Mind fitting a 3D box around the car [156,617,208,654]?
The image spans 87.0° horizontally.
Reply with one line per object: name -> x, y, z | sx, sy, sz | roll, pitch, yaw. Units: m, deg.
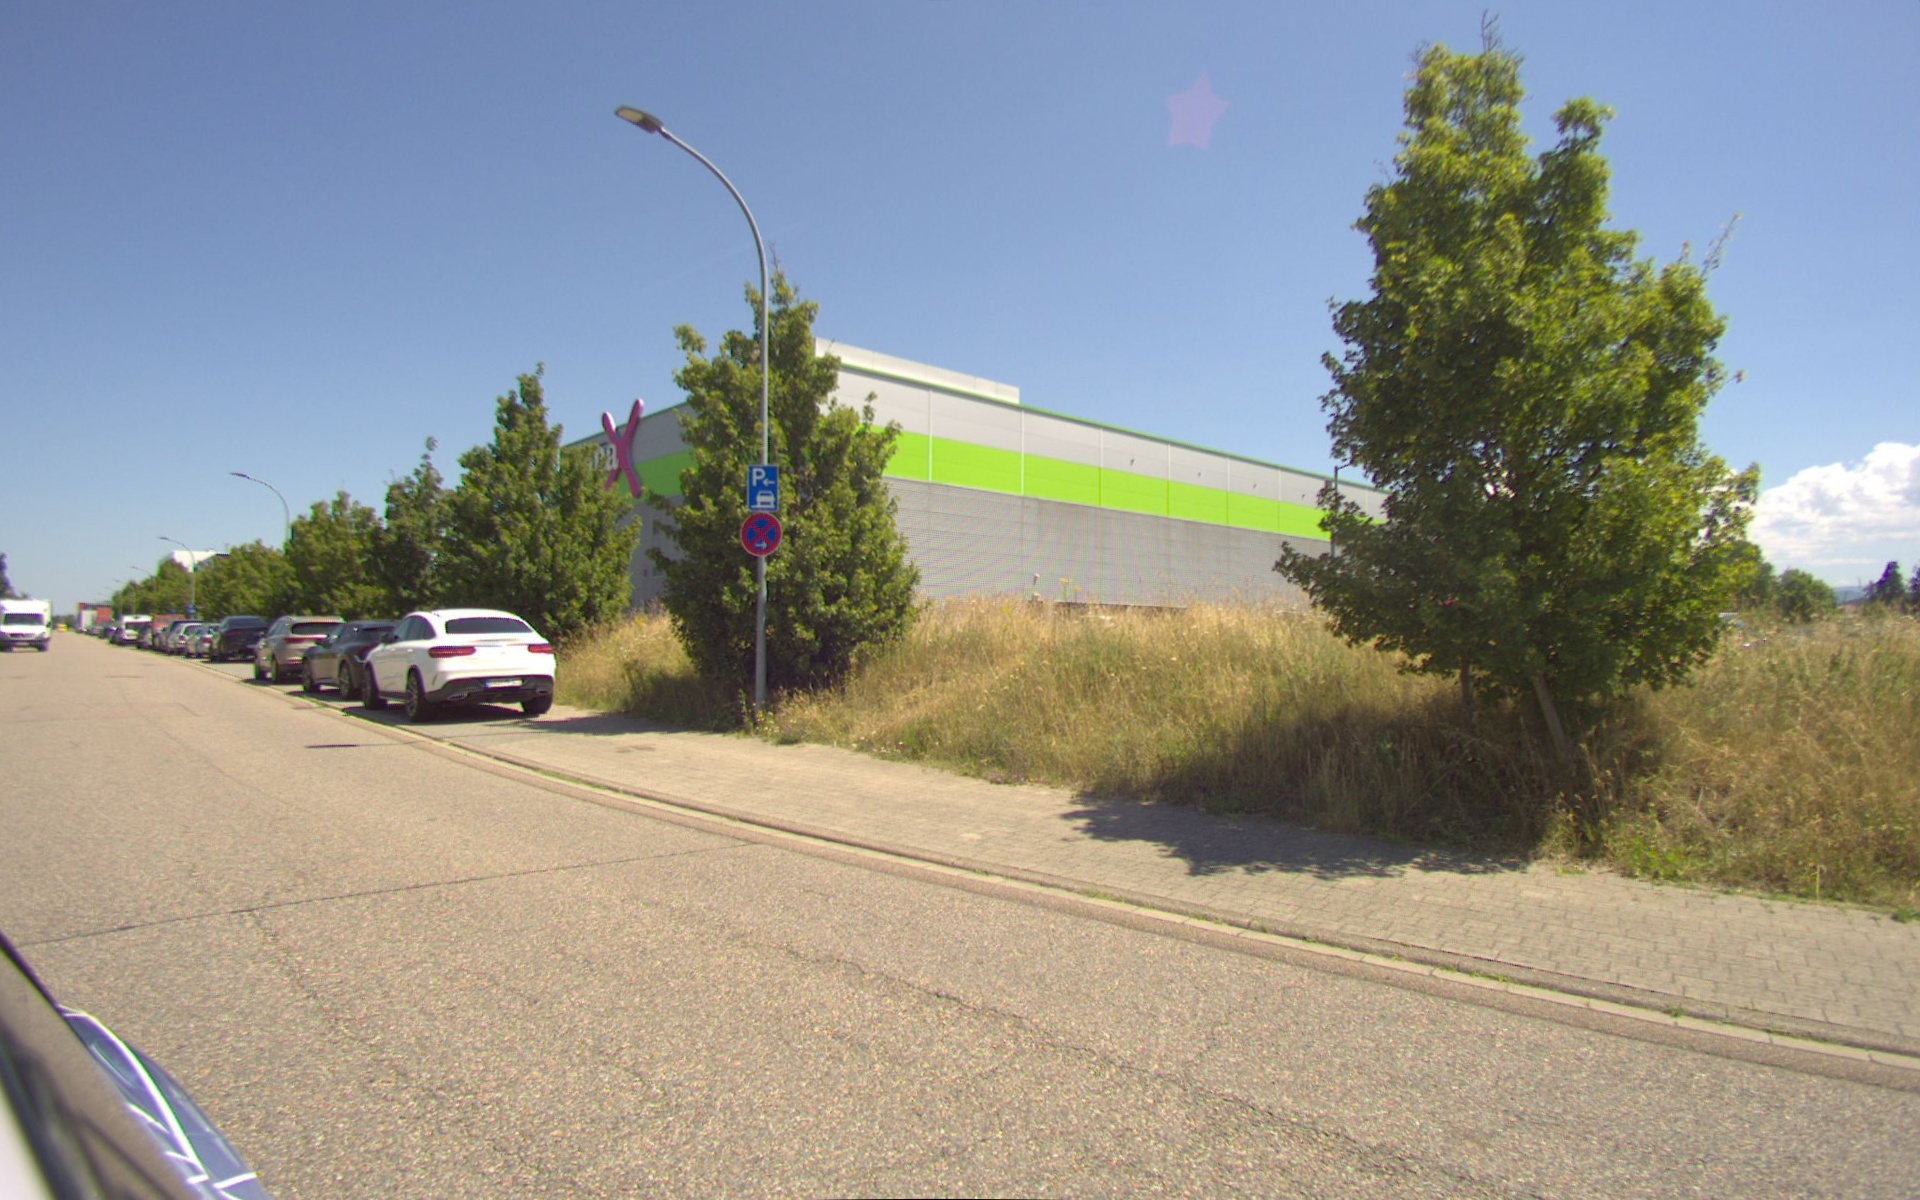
car -> -40.330, 1.819, 52.386 | 1.829, 1.772, 4.993 | 0, -2, -41

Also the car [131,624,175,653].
car -> -54.728, 2.605, 68.579 | 1.950, 1.915, 5.409 | 3, -3, -42

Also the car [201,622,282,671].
car -> -27.278, 1.726, 38.367 | 1.967, 1.726, 5.013 | 0, -2, -42

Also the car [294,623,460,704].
car -> -12.207, 1.278, 21.067 | 1.890, 1.503, 4.415 | 3, -4, -45

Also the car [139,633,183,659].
car -> -50.537, 2.870, 63.959 | 1.830, 1.562, 3.770 | 0, -2, -44

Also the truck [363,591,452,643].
truck -> -47.092, 1.529, 86.350 | 6.030, 4.119, 3.224 | 3, -4, -41

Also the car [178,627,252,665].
car -> -31.973, 1.941, 43.366 | 1.830, 1.530, 5.170 | 0, -2, -44

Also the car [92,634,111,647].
car -> -116.000, 5.429, 136.774 | 1.772, 1.660, 3.835 | 3, -3, -43

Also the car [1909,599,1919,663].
car -> 25.236, 0.712, 23.911 | 1.970, 1.556, 4.003 | 1, -3, -44

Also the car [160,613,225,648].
car -> -36.317, 1.438, 47.855 | 1.830, 1.530, 4.908 | 0, -2, -44

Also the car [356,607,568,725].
car -> -8.387, 1.057, 16.813 | 1.889, 1.668, 4.760 | 3, -4, -42

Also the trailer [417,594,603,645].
trailer -> -40.586, 1.905, 92.045 | 15.131, 4.119, 3.224 | 3, -4, -41

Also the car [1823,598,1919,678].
car -> 18.159, 0.671, 18.072 | 1.970, 1.423, 4.003 | 1, -3, -44

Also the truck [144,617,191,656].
truck -> -47.352, 2.148, 60.429 | 1.829, 2.239, 4.651 | 0, -2, -43

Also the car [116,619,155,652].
car -> -68.787, 2.950, 84.408 | 2.294, 2.618, 6.094 | 0, -2, -41

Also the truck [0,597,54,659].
truck -> -52.212, 1.581, 56.296 | 2.426, 3.230, 6.893 | 3, -3, -40

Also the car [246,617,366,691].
car -> -16.821, 1.334, 25.944 | 1.889, 1.726, 4.418 | 0, -2, -42
